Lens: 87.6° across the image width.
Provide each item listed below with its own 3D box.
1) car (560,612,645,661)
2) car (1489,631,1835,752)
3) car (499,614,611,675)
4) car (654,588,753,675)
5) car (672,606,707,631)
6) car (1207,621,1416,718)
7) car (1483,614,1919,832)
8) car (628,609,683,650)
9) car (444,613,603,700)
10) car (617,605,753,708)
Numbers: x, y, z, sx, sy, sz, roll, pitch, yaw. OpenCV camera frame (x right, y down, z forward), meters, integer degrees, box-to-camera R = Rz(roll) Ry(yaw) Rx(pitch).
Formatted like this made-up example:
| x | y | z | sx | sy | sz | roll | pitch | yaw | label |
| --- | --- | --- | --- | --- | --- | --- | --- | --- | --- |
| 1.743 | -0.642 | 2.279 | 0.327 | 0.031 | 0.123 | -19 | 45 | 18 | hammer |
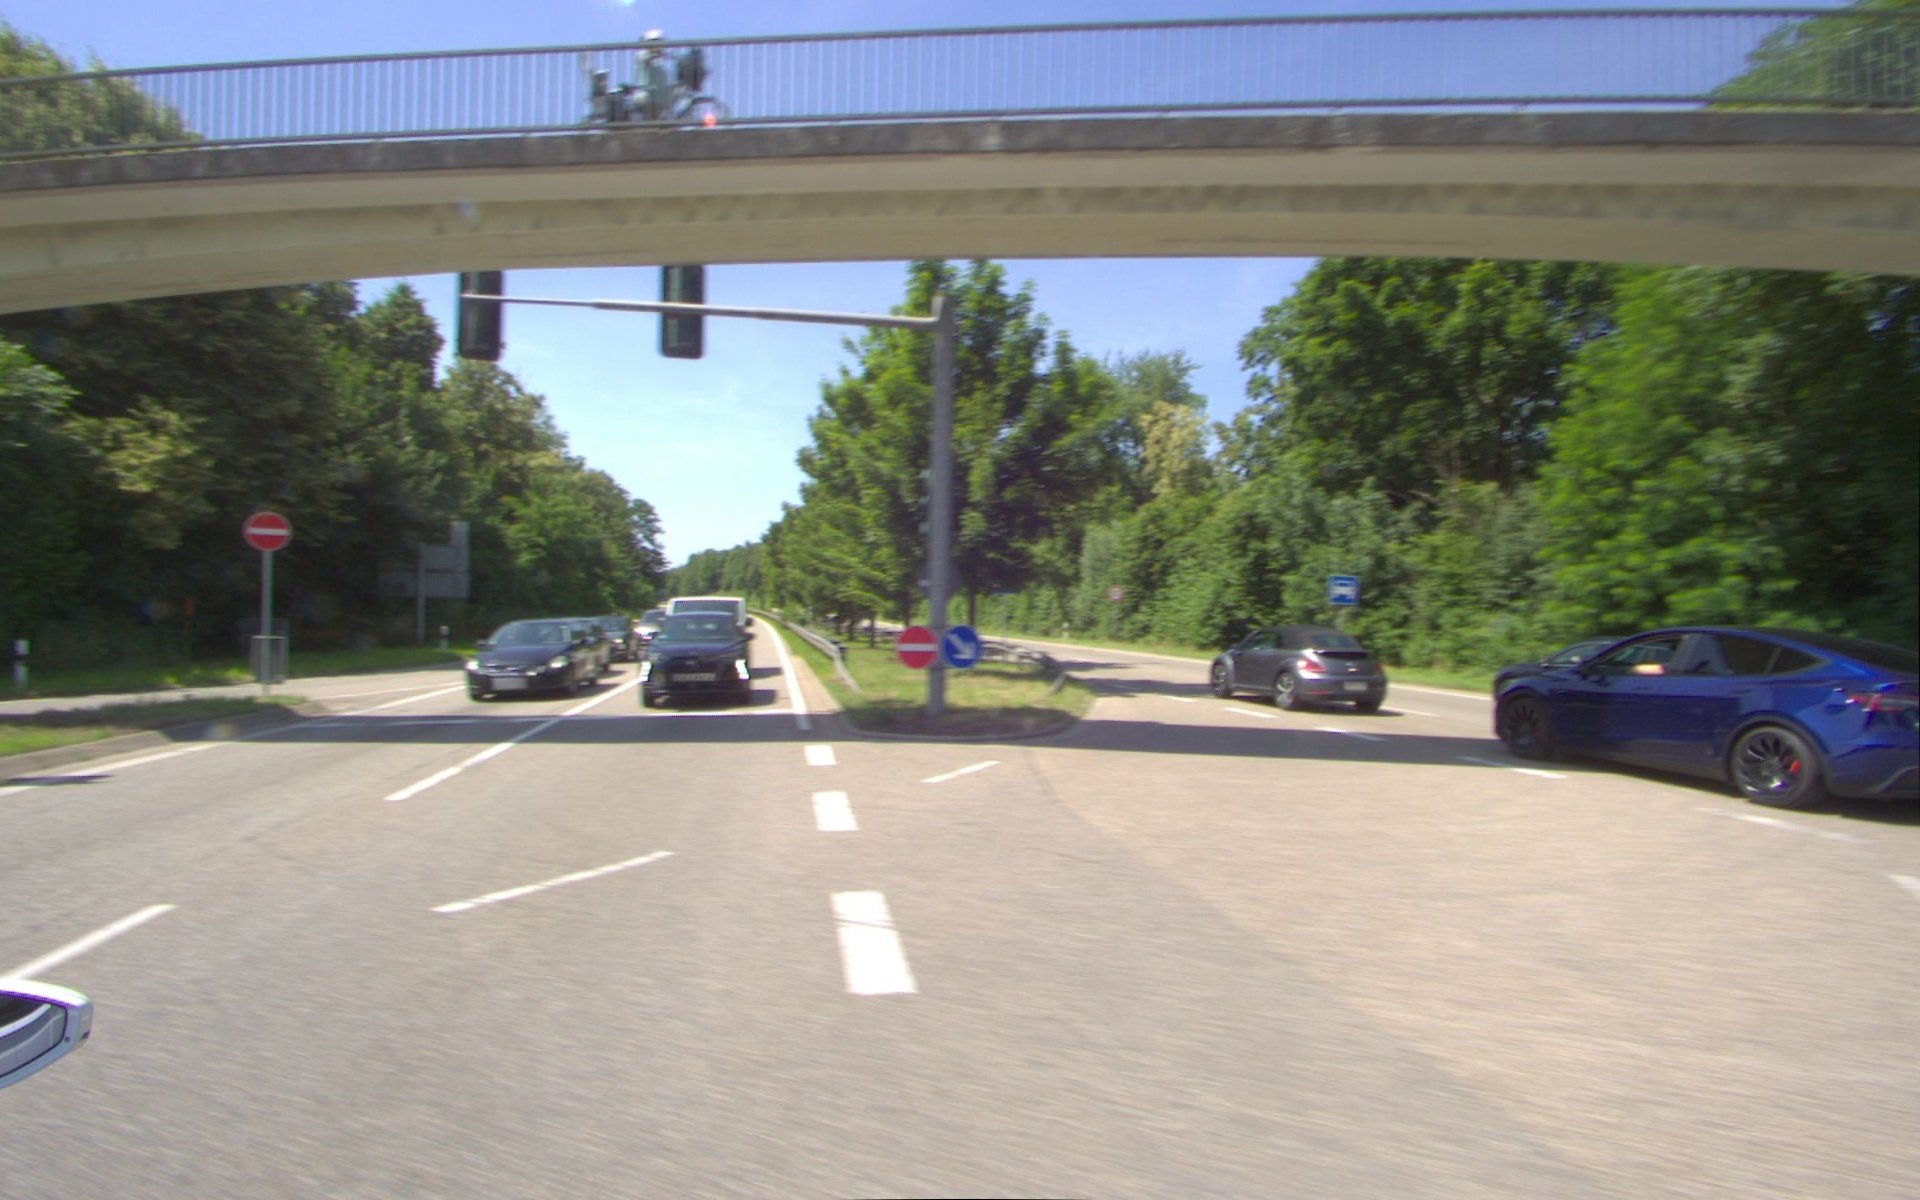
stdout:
| x | y | z | sx | sy | sz | roll | pitch | yaw | label |
| --- | --- | --- | --- | --- | --- | --- | --- | --- | --- |
| -11.567 | 1.150 | 32.629 | 1.977 | 1.479 | 4.052 | 1 | -1 | -11 | car |
| 10.796 | 1.328 | 15.879 | 1.871 | 1.497 | 4.376 | 3 | -1 | -11 | car |
| -10.577 | 1.103 | 26.453 | 1.977 | 1.479 | 4.052 | 0 | -1 | -11 | car |
| -6.520 | 0.770 | 26.004 | 2.174 | 2.019 | 5.484 | 0 | -1 | -11 | car |
| -18.170 | 1.247 | 67.401 | 1.977 | 1.622 | 4.052 | 0 | -1 | -11 | car |
| 6.273 | 1.192 | 18.405 | 1.871 | 1.497 | 3.935 | 2 | -1 | -11 | car |
| 7.769 | 1.036 | 10.152 | 1.872 | 1.665 | 4.515 | 3 | -1 | -12 | car |
| -12.887 | 1.217 | 42.617 | 1.833 | 1.637 | 4.052 | 0 | -1 | -11 | car |
| -8.240 | 1.001 | 19.302 | 1.977 | 1.479 | 4.052 | 0 | -1 | -11 | car |
| -4.659 | 0.897 | 17.489 | 1.963 | 1.543 | 4.024 | -1 | 0 | -11 | car |
